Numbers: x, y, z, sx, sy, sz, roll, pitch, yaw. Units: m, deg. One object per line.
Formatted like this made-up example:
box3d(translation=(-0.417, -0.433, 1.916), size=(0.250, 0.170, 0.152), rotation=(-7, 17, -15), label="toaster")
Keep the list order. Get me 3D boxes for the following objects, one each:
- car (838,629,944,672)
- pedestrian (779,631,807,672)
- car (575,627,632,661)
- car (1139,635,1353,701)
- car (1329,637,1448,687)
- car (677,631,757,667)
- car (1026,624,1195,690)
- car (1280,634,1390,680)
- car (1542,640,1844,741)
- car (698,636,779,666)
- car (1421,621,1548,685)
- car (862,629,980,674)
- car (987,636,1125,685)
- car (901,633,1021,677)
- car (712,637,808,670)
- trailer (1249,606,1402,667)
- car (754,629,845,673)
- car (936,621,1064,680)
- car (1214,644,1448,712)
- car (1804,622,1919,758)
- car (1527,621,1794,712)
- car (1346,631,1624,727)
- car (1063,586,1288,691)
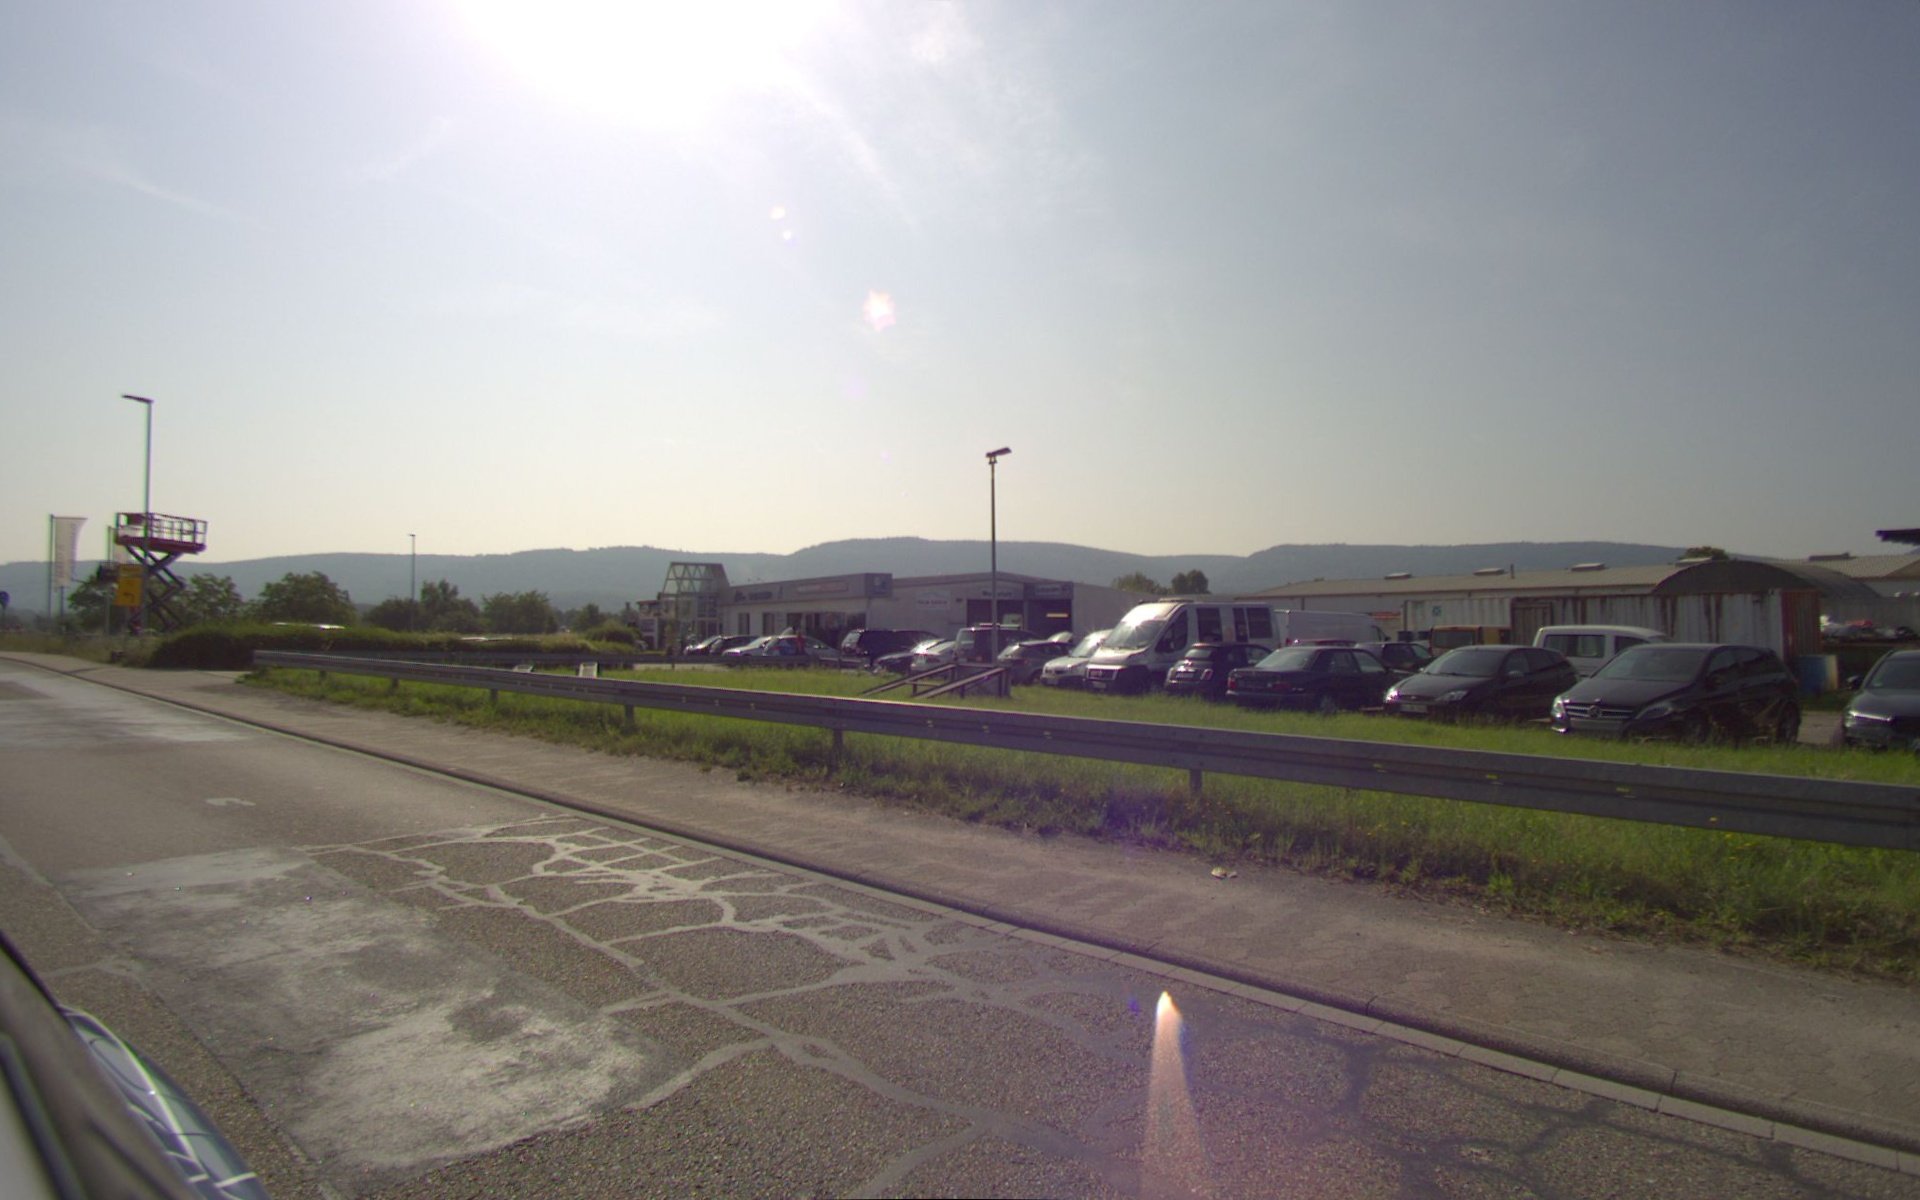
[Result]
box3d(translation=(-2.584, 1.902, 38.156), size=(3.627, 1.533, 1.688), rotation=(3, -3, -37), label="car")
box3d(translation=(-7.296, 2.251, 44.303), size=(0.982, 1.767, 0.837), rotation=(-1, 0, 11), label="pedestrian")
box3d(translation=(-22.487, 2.751, 63.777), size=(1.968, 2.029, 4.164), rotation=(3, -3, -40), label="car")
box3d(translation=(6.506, 1.531, 22.951), size=(4.684, 1.364, 1.927), rotation=(2, -4, -30), label="car")
box3d(translation=(13.529, 1.938, 31.907), size=(3.605, 1.475, 1.768), rotation=(3, -3, -34), label="car")
box3d(translation=(-13.569, 2.740, 56.559), size=(4.026, 1.886, 1.822), rotation=(2, -3, -26), label="car")
box3d(translation=(4.103, 1.556, 27.461), size=(4.328, 1.676, 1.812), rotation=(2, -4, -30), label="car")
box3d(translation=(12.749, 1.925, 34.373), size=(3.605, 1.475, 1.768), rotation=(3, -3, -34), label="car")
box3d(translation=(11.121, 1.316, 15.275), size=(4.882, 1.328, 1.784), rotation=(2, -4, -30), label="car")
box3d(translation=(-11.286, 2.598, 51.514), size=(3.605, 1.475, 1.768), rotation=(3, -3, -34), label="car")
box3d(translation=(17.549, 1.777, 33.824), size=(3.932, 2.029, 2.006), rotation=(3, -3, -31), label="car")
box3d(translation=(-1.346, 1.845, 36.109), size=(3.935, 1.533, 1.688), rotation=(3, -3, -37), label="car")
box3d(translation=(2.816, 1.749, 29.444), size=(3.695, 1.318, 1.811), rotation=(3, -3, -34), label="car")
box3d(translation=(0.053, 1.860, 34.053), size=(3.695, 1.399, 1.734), rotation=(3, -3, -34), label="car")
box3d(translation=(-9.617, 2.577, 48.675), size=(4.088, 1.547, 1.887), rotation=(3, -3, -36), label="car")
box3d(translation=(13.898, 1.431, 38.405), size=(5.667, 2.140, 2.224), rotation=(2, -3, -27), label="trailer")
box3d(translation=(-7.423, 2.317, 46.849), size=(3.711, 1.809, 1.938), rotation=(-1, 1, -36), label="car")
box3d(translation=(1.290, 1.600, 31.829), size=(3.695, 1.764, 1.753), rotation=(3, -3, -34), label="car")
box3d(translation=(7.459, 1.545, 20.260), size=(4.616, 1.228, 1.836), rotation=(2, -4, -30), label="car")
box3d(translation=(13.193, 1.117, 12.798), size=(5.055, 1.546, 2.184), rotation=(2, -4, -30), label="car")
box3d(translation=(15.576, 1.386, 22.771), size=(1.966, 1.689, 4.541), rotation=(-1, 1, -32), label="car")
box3d(translation=(9.588, 1.406, 18.410), size=(5.055, 1.546, 2.032), rotation=(2, -4, -30), label="car")
box3d(translation=(5.435, 1.023, 25.403), size=(5.313, 2.391, 2.301), rotation=(2, -4, -30), label="car")
